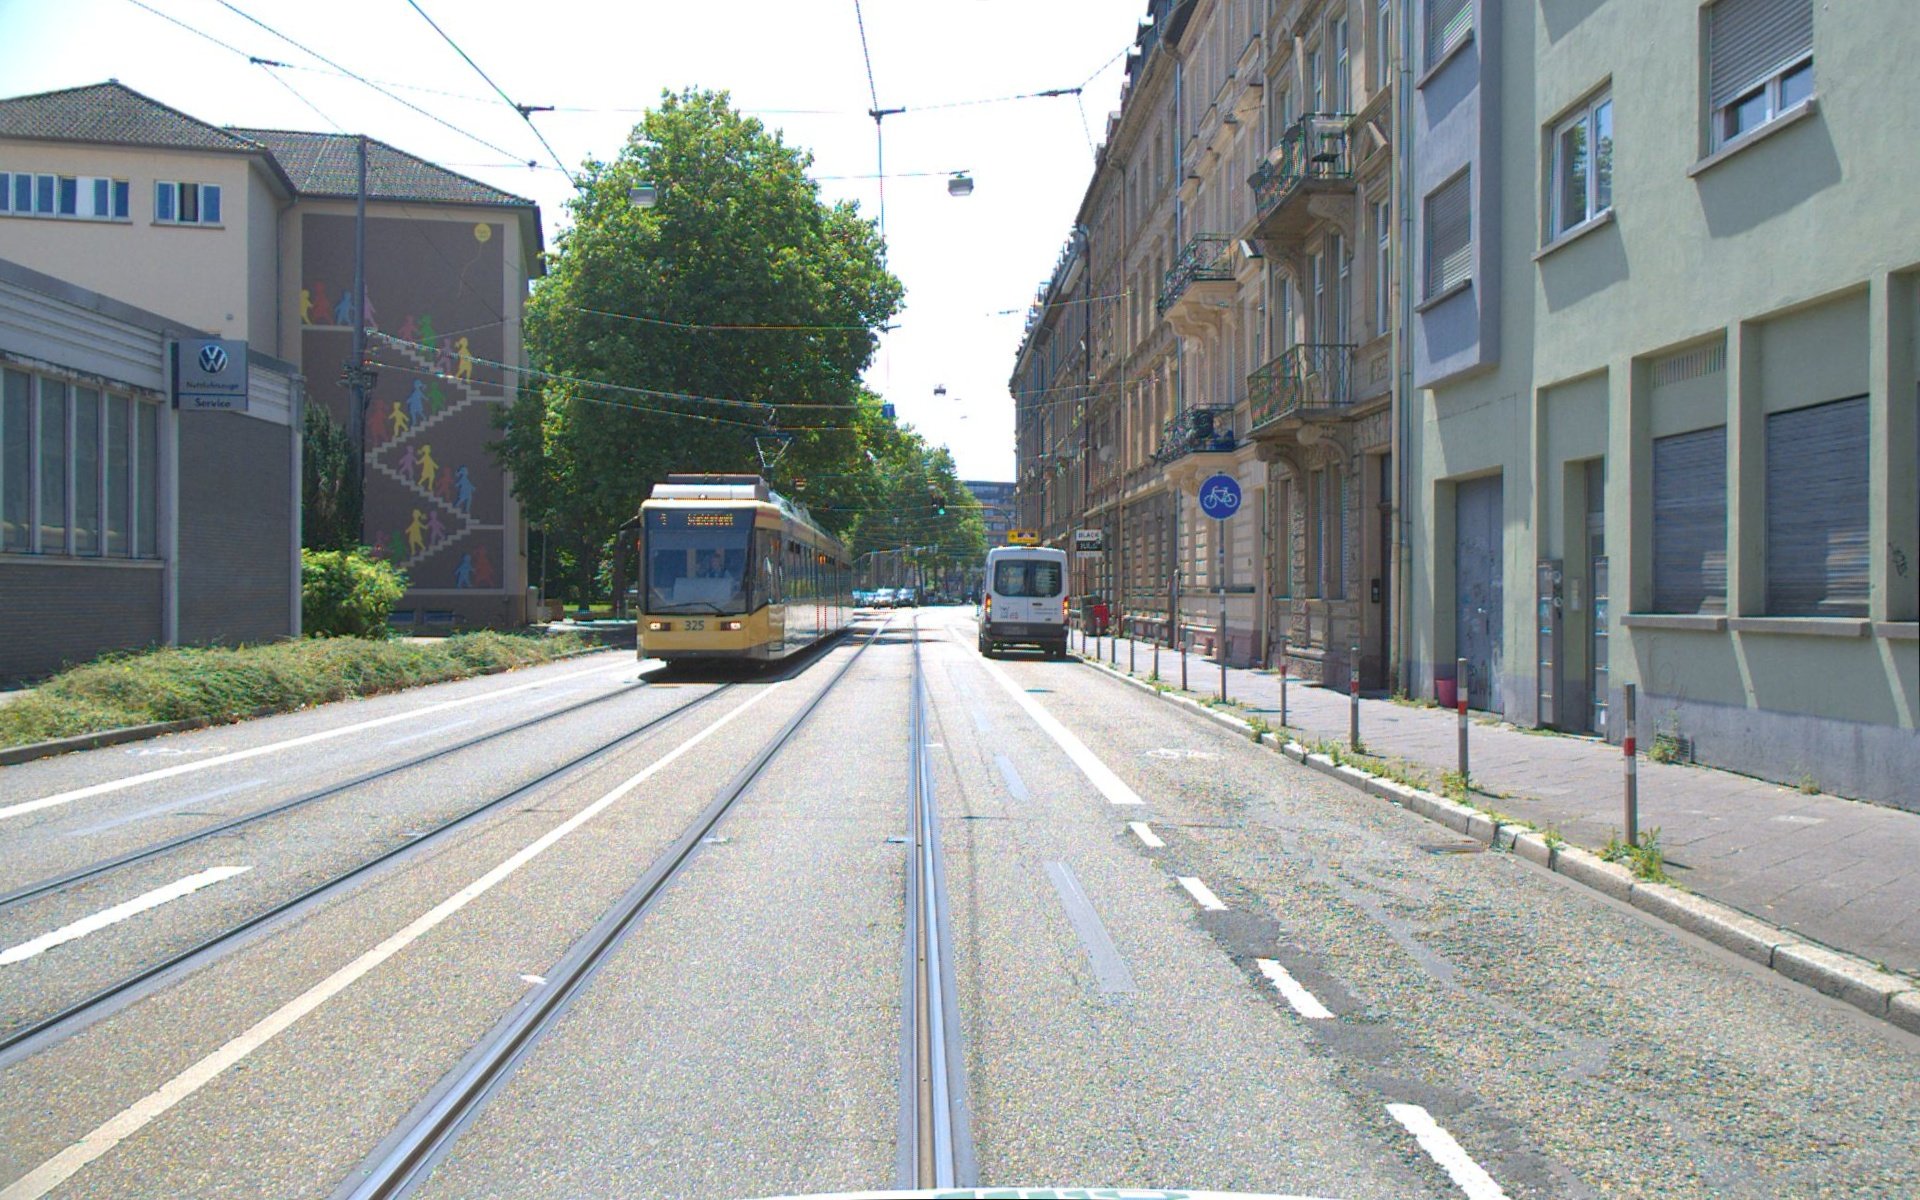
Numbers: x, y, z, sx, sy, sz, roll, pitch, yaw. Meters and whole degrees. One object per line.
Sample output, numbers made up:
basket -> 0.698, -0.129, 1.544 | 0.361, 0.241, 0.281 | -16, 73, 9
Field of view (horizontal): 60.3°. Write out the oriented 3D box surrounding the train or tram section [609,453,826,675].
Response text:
train or tram section -> -4.526, -0.626, 33.894 | 2.901, 3.643, 13.418 | 0, 0, -2

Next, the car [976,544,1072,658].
car -> 1.487, 0.014, 40.310 | 2.025, 2.544, 5.453 | 1, 0, -1

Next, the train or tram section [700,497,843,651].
train or tram section -> -4.958, -0.645, 46.059 | 2.901, 3.643, 13.418 | 0, 0, -2

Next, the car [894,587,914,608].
car -> -5.270, -0.236, 155.133 | 1.641, 1.892, 3.997 | 1, 0, -4

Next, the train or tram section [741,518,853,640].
train or tram section -> -5.317, -0.661, 56.296 | 2.901, 3.643, 13.418 | 0, 0, -2

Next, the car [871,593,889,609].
car -> -7.152, 0.073, 147.762 | 1.498, 1.433, 3.487 | 1, 0, -4
